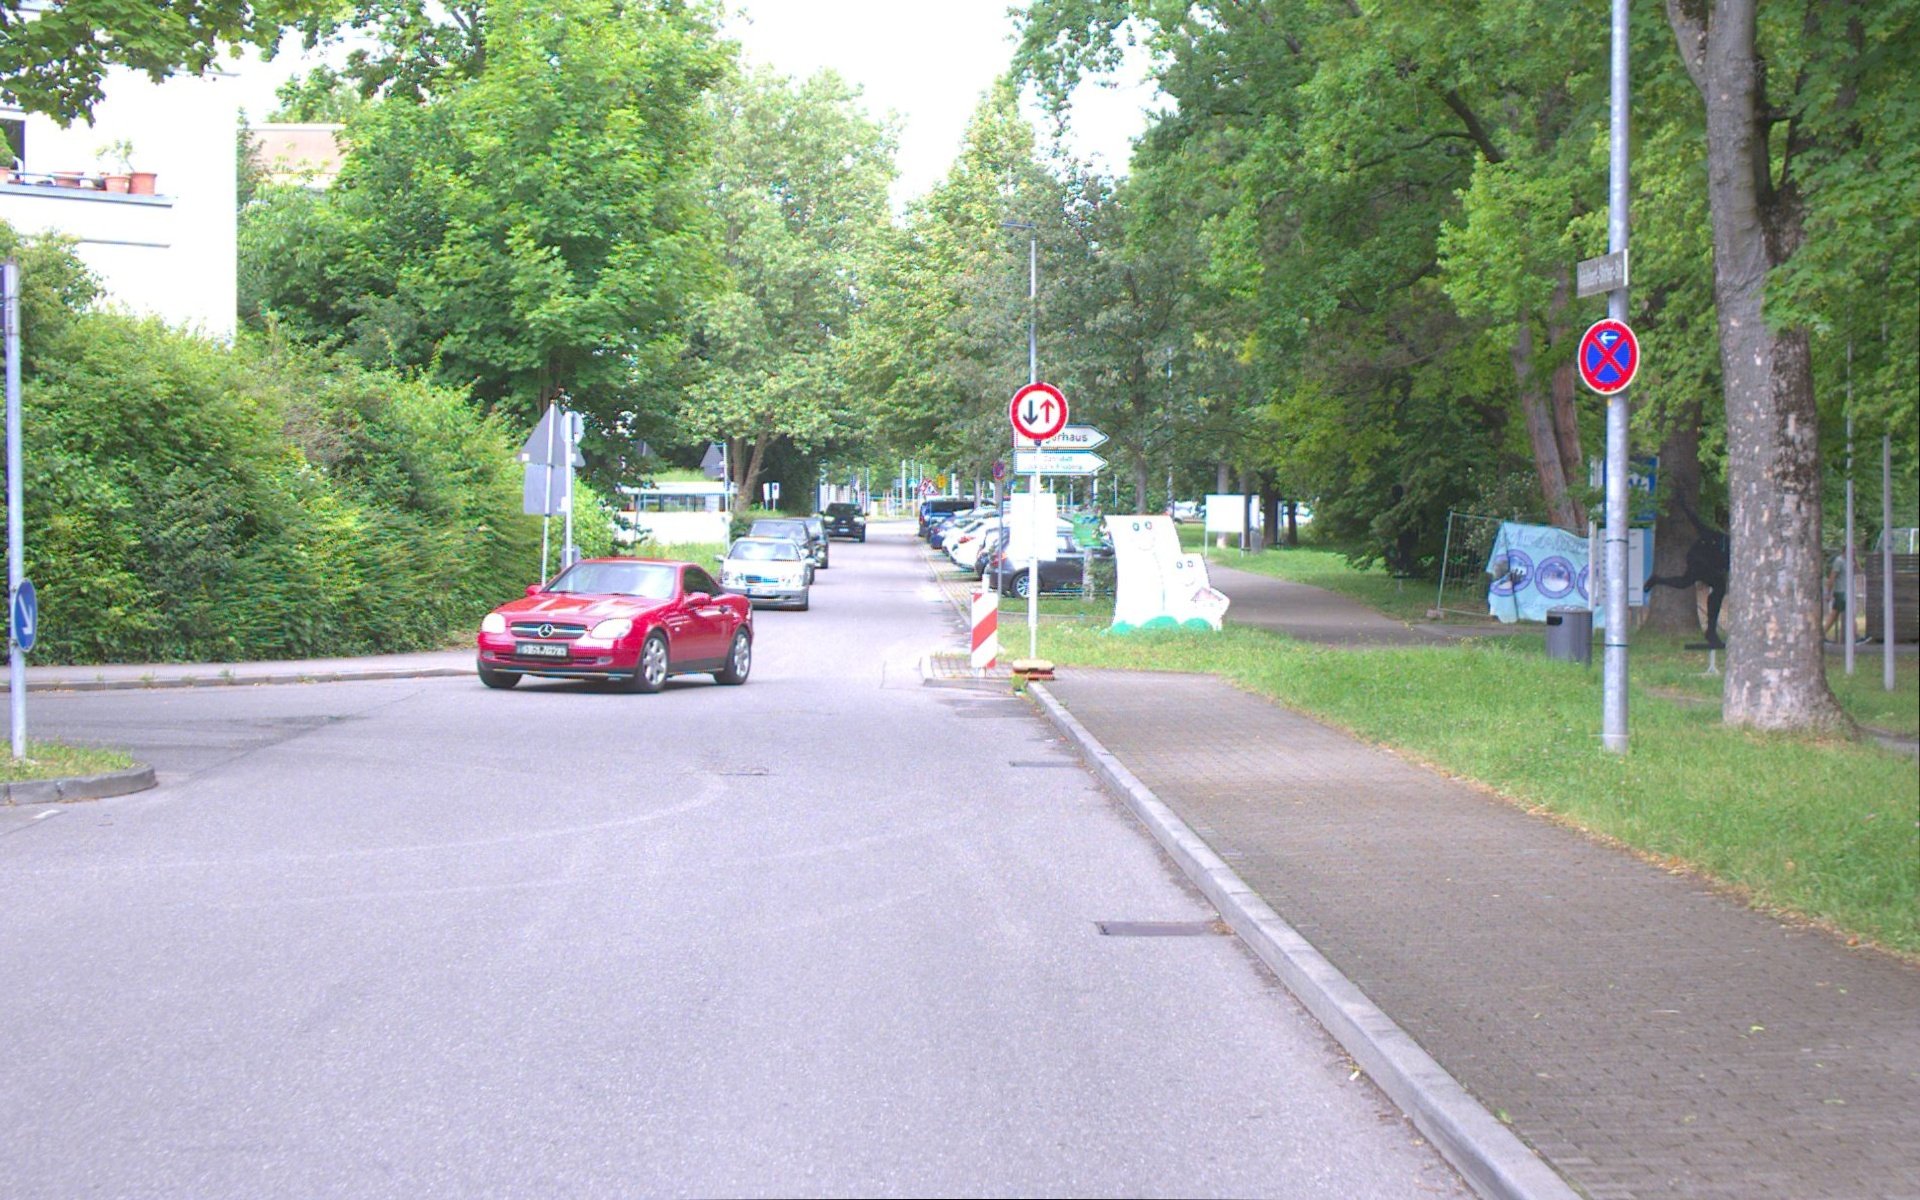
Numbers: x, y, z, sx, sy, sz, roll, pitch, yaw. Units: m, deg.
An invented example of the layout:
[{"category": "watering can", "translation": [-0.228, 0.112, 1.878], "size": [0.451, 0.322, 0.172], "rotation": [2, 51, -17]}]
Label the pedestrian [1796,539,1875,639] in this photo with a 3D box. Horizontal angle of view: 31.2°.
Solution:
[{"category": "pedestrian", "translation": [14.834, -0.179, 58.224], "size": [1.149, 1.669, 0.792], "rotation": [-1, 0, 24]}]

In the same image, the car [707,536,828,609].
[{"category": "car", "translation": [-3.645, -0.549, 65.633], "size": [1.781, 1.302, 4.296], "rotation": [1, 1, 4]}]

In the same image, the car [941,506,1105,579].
[{"category": "car", "translation": [1.637, -1.511, 89.891], "size": [4.062, 1.681, 1.823], "rotation": [-3, 2, -4]}]

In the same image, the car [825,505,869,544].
[{"category": "car", "translation": [-5.164, -3.456, 156.729], "size": [1.968, 1.741, 4.339], "rotation": [1, 1, -2]}]

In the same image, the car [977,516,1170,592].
[{"category": "car", "translation": [2.447, -0.984, 74.732], "size": [4.062, 1.563, 1.822], "rotation": [-1, 0, -2]}]

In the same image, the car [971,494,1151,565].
[{"category": "car", "translation": [2.325, -1.645, 79.924], "size": [4.062, 1.563, 1.823], "rotation": [-1, 2, -2]}]

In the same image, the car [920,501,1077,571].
[{"category": "car", "translation": [1.042, -1.750, 93.903], "size": [4.062, 1.681, 1.823], "rotation": [-3, 2, -4]}]

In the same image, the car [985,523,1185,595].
[{"category": "car", "translation": [2.603, -0.853, 72.220], "size": [4.062, 1.429, 2.000], "rotation": [-1, 0, -2]}]

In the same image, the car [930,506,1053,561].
[{"category": "car", "translation": [1.079, -2.311, 119.165], "size": [4.062, 1.681, 1.823], "rotation": [-3, 2, -4]}]

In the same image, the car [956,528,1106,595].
[{"category": "car", "translation": [2.009, -1.117, 98.640], "size": [4.062, 1.681, 1.823], "rotation": [-3, 2, -4]}]

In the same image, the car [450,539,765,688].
[{"category": "car", "translation": [-3.374, 0.088, 33.691], "size": [1.751, 1.331, 4.063], "rotation": [1, 1, 15]}]

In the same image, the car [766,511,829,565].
[{"category": "car", "translation": [-4.993, -1.921, 105.230], "size": [1.803, 1.586, 4.297], "rotation": [1, 1, -4]}]
